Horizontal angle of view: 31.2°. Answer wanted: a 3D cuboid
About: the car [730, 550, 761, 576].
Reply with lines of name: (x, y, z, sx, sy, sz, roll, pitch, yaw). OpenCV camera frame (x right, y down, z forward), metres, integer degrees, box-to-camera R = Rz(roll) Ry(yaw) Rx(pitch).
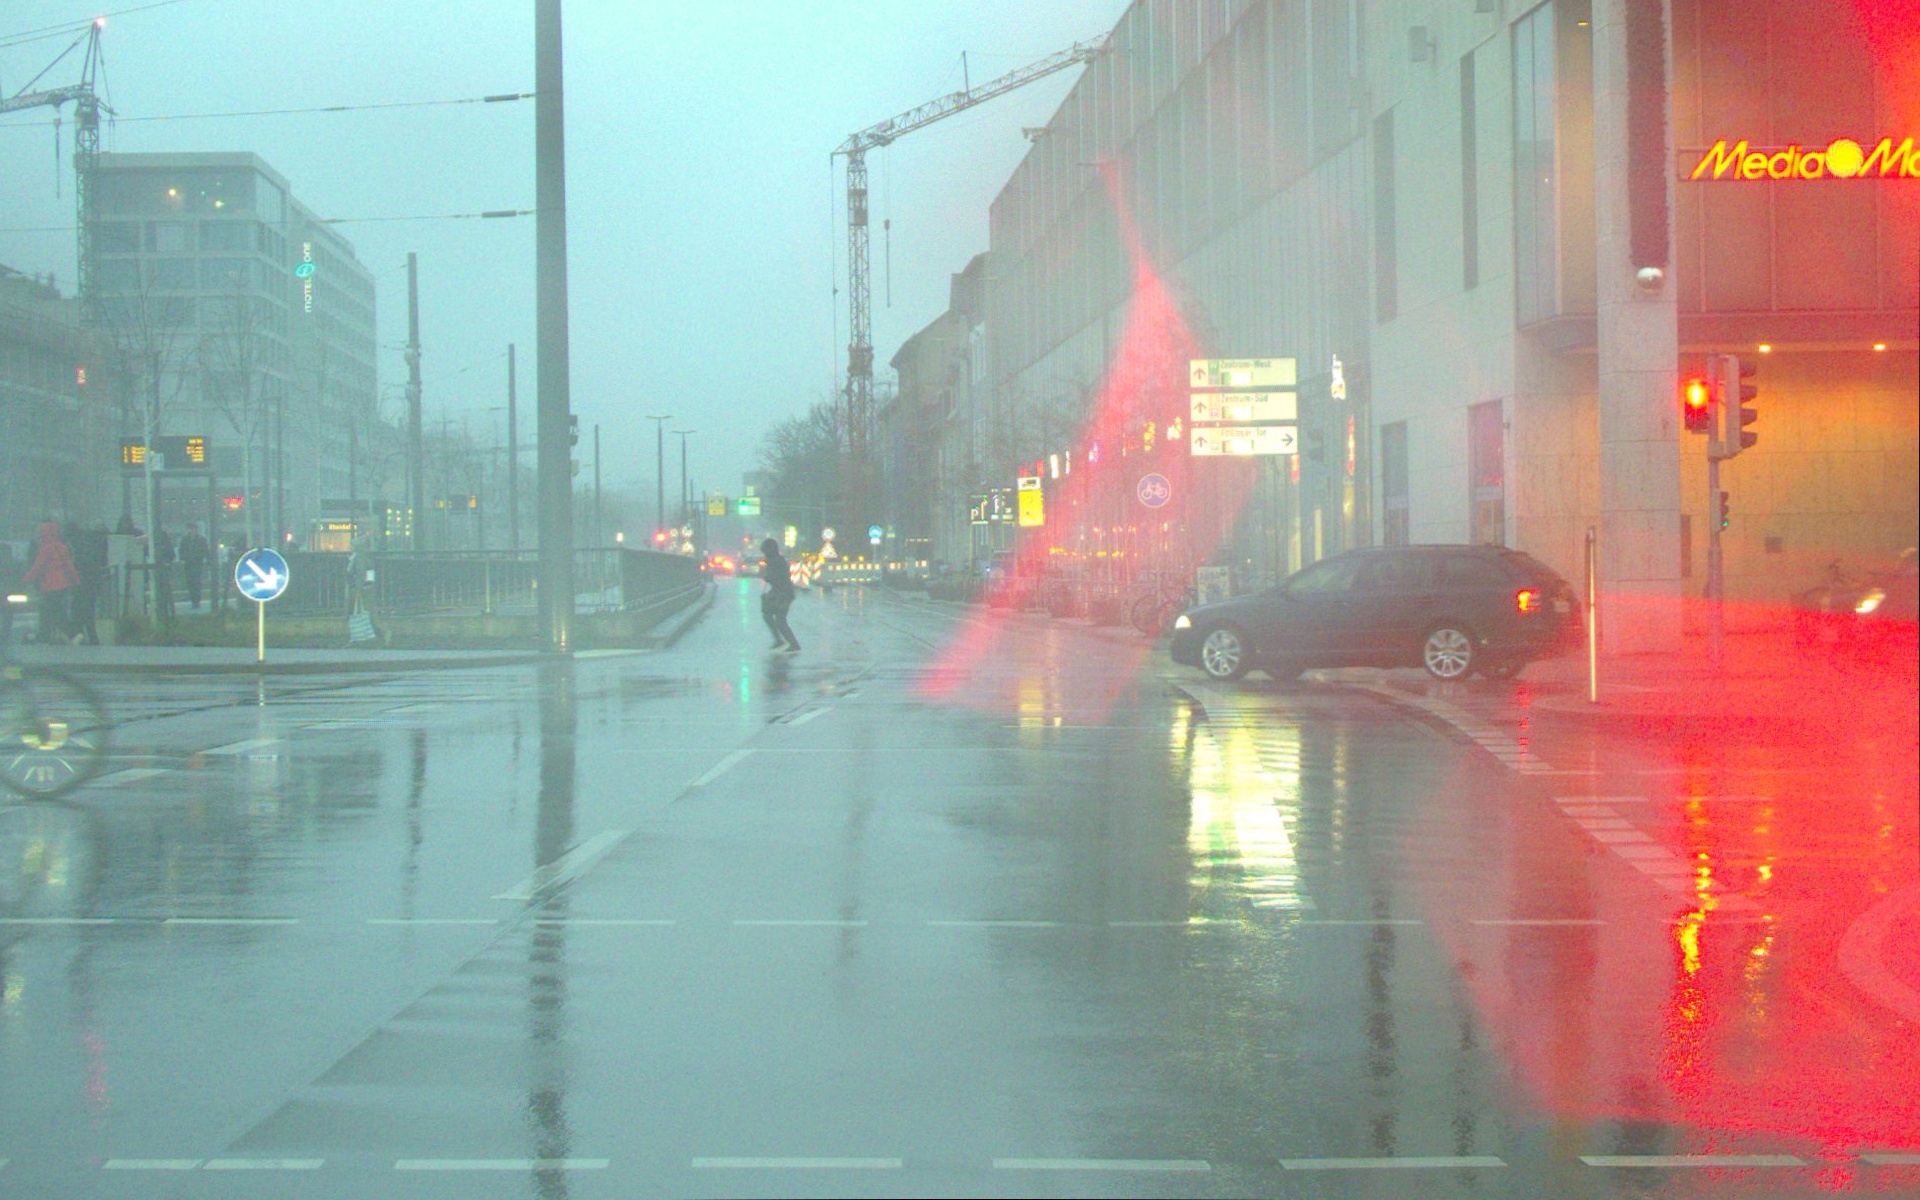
car: (-14.771, -2.527, 237.087, 1.888, 1.777, 3.714, 1, 0, -1)

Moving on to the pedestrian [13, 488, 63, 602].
pedestrian: (-14.229, -0.844, 53.061, 0.619, 1.740, 0.613, -1, 1, -6)

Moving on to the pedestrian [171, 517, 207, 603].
pedestrian: (-15.800, -0.816, 70.472, 0.660, 1.740, 0.621, -1, 1, -11)

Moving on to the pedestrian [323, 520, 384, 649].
pedestrian: (-8.398, -0.219, 47.596, 0.703, 1.754, 0.652, -1, 1, -1)

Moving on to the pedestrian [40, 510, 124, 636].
pedestrian: (-11.895, -0.370, 46.584, 0.843, 1.682, 0.676, -1, 1, 20)

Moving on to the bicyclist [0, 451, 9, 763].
bicyclist: (-5.710, 0.045, 18.504, 1.033, 1.691, 0.618, -1, 1, -7)

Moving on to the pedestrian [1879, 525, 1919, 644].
pedestrian: (13.773, -0.228, 50.152, 0.536, 1.712, 0.501, 0, 1, 37)

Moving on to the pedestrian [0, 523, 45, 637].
pedestrian: (-13.370, -0.286, 48.685, 0.743, 1.602, 0.812, -1, 1, -17)

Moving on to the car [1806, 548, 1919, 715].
car: (10.313, 0.269, 33.697, 3.568, 1.577, 1.677, -1, 0, -3)

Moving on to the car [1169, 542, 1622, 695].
car: (4.723, 0.187, 37.318, 4.542, 1.568, 1.794, 0, 1, 24)

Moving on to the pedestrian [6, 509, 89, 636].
pedestrian: (-12.204, -0.366, 45.988, 0.831, 1.673, 0.619, -1, 1, 19)

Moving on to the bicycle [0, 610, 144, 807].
bicycle: (-5.649, 0.594, 18.508, 2.372, 1.029, 0.618, -1, 1, -7)

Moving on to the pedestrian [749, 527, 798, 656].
pedestrian: (-2.580, -0.115, 47.602, 0.633, 1.766, 0.484, -1, 1, -2)
